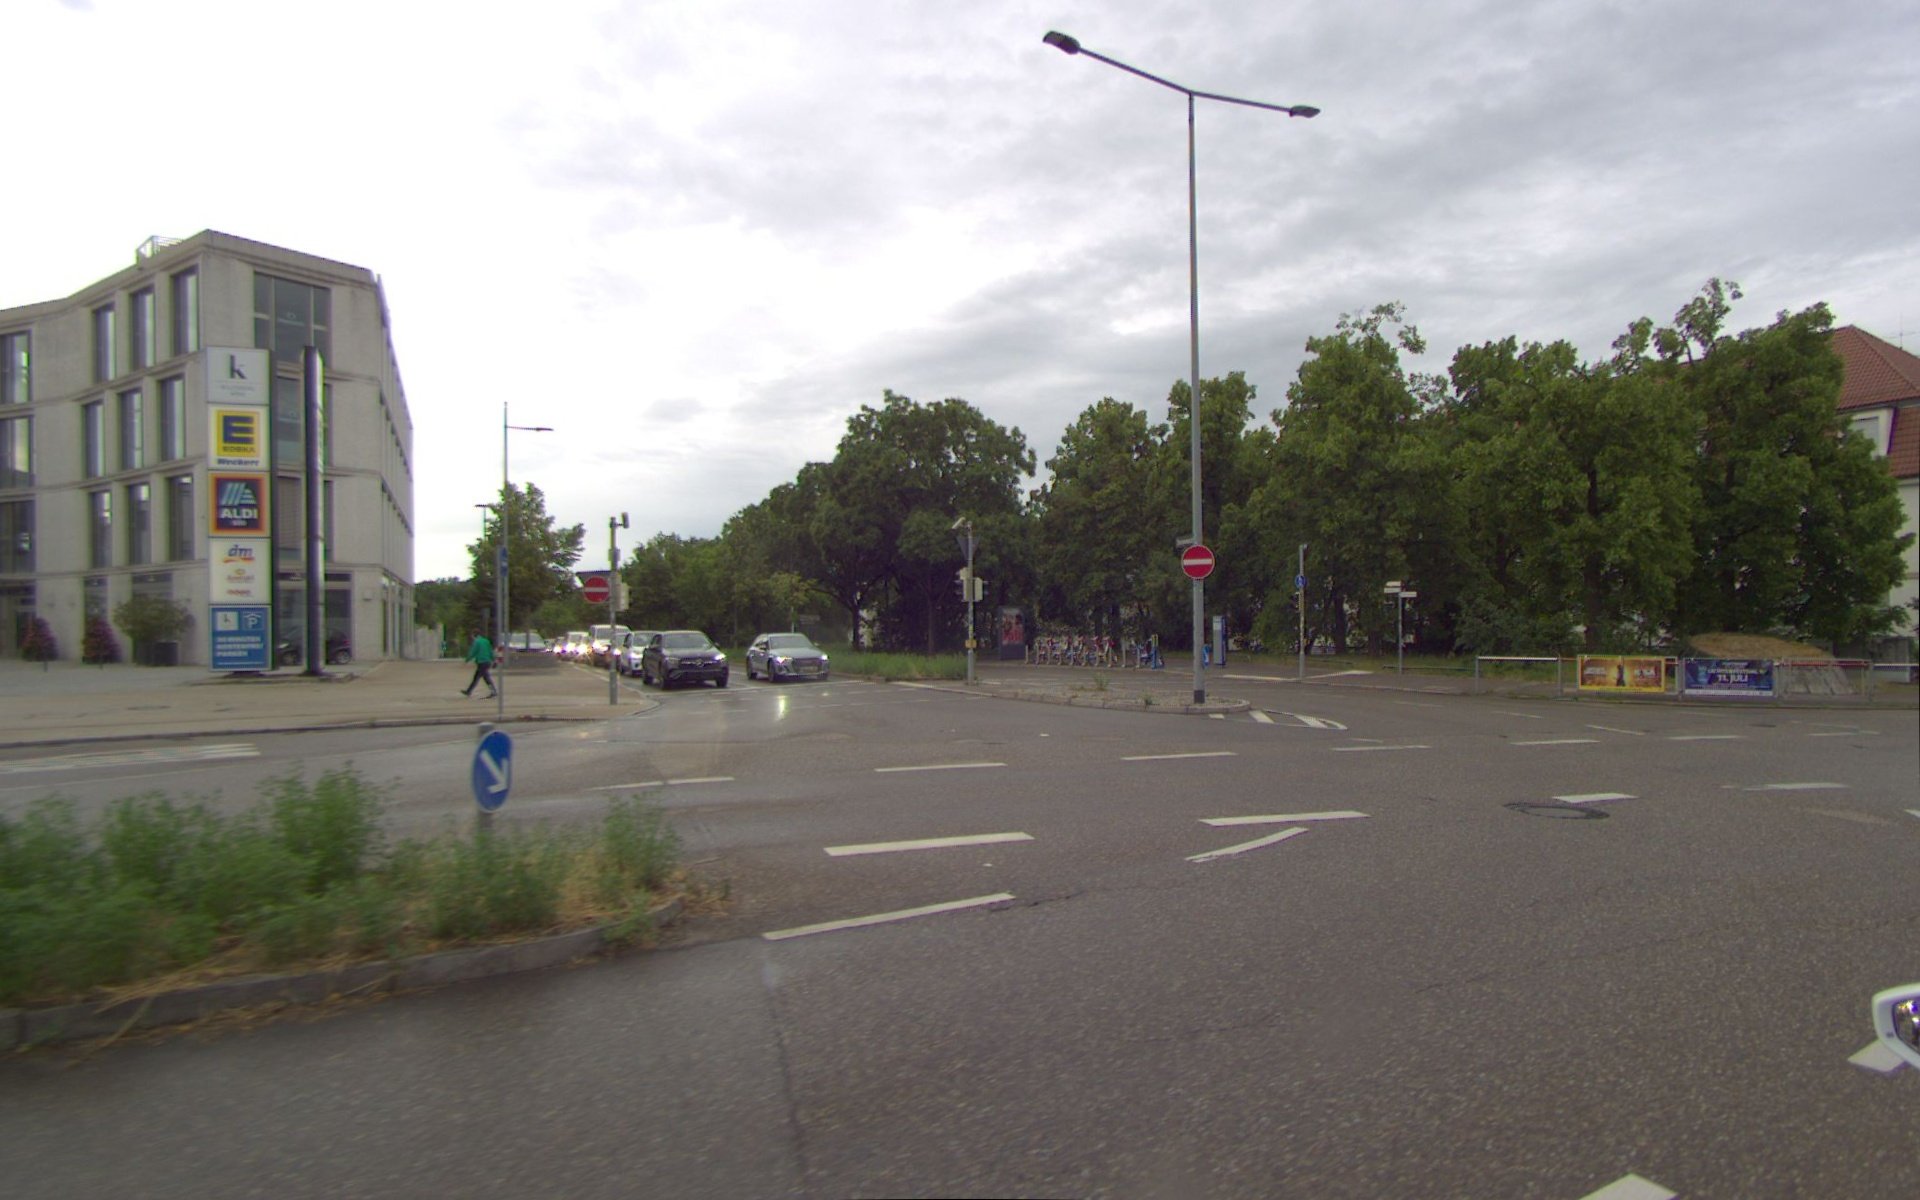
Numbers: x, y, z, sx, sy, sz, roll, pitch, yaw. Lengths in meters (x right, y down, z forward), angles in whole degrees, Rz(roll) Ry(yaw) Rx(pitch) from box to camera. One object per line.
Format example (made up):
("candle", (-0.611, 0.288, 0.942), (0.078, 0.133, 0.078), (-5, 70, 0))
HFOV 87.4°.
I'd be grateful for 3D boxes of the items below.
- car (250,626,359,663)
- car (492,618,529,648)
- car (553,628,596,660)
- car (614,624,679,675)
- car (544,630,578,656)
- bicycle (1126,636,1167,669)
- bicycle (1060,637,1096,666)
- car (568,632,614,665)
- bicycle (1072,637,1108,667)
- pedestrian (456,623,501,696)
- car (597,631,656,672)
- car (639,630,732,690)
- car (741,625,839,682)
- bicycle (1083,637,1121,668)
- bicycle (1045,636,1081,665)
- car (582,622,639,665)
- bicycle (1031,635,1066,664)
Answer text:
("car", (-25.910, 1.749, 39.770), (1.542, 1.395, 3.284), (-1, -2, 37))
("car", (-31.512, 2.272, 70.355), (1.976, 2.040, 3.969), (1, -2, -30))
("car", (-21.878, 2.453, 56.899), (1.811, 1.622, 4.642), (-1, 0, -26))
("car", (-11.305, 1.718, 36.135), (1.634, 1.597, 3.677), (-3, 1, -26))
("car", (-24.653, 2.644, 61.964), (1.625, 1.429, 3.969), (-1, 0, -27))
("bicycle", (7.196, 2.030, 38.815), (1.584, 1.146, 0.552), (-3, -1, -34))
("bicycle", (4.980, 2.171, 42.459), (1.474, 1.146, 0.552), (-3, -1, -34))
("car", (-18.740, 2.424, 50.919), (1.726, 1.487, 4.033), (-1, 0, -27))
("bicycle", (5.409, 2.156, 41.774), (1.474, 1.146, 0.552), (-3, -1, -34))
("pedestrian", (-11.519, 1.419, 24.061), (0.667, 1.709, 0.752), (0, -1, 3))
("car", (-13.527, 2.040, 40.676), (1.698, 1.480, 3.723), (-1, 0, -27))
("car", (-8.248, 1.718, 29.998), (1.808, 1.540, 4.034), (-1, 0, -28))
("car", (-5.406, 1.631, 31.526), (1.831, 1.596, 4.134), (2, -1, -28))
("bicycle", (5.805, 2.132, 41.072), (1.474, 1.146, 0.552), (-3, -1, -34))
("bicycle", (4.443, 2.171, 43.421), (1.474, 1.146, 0.552), (-3, -1, -34))
("car", (-15.927, 1.929, 45.645), (1.826, 1.826, 4.741), (2, -1, -26))
("bicycle", (3.918, 2.171, 44.234), (1.474, 1.146, 0.552), (-3, -1, -34))
